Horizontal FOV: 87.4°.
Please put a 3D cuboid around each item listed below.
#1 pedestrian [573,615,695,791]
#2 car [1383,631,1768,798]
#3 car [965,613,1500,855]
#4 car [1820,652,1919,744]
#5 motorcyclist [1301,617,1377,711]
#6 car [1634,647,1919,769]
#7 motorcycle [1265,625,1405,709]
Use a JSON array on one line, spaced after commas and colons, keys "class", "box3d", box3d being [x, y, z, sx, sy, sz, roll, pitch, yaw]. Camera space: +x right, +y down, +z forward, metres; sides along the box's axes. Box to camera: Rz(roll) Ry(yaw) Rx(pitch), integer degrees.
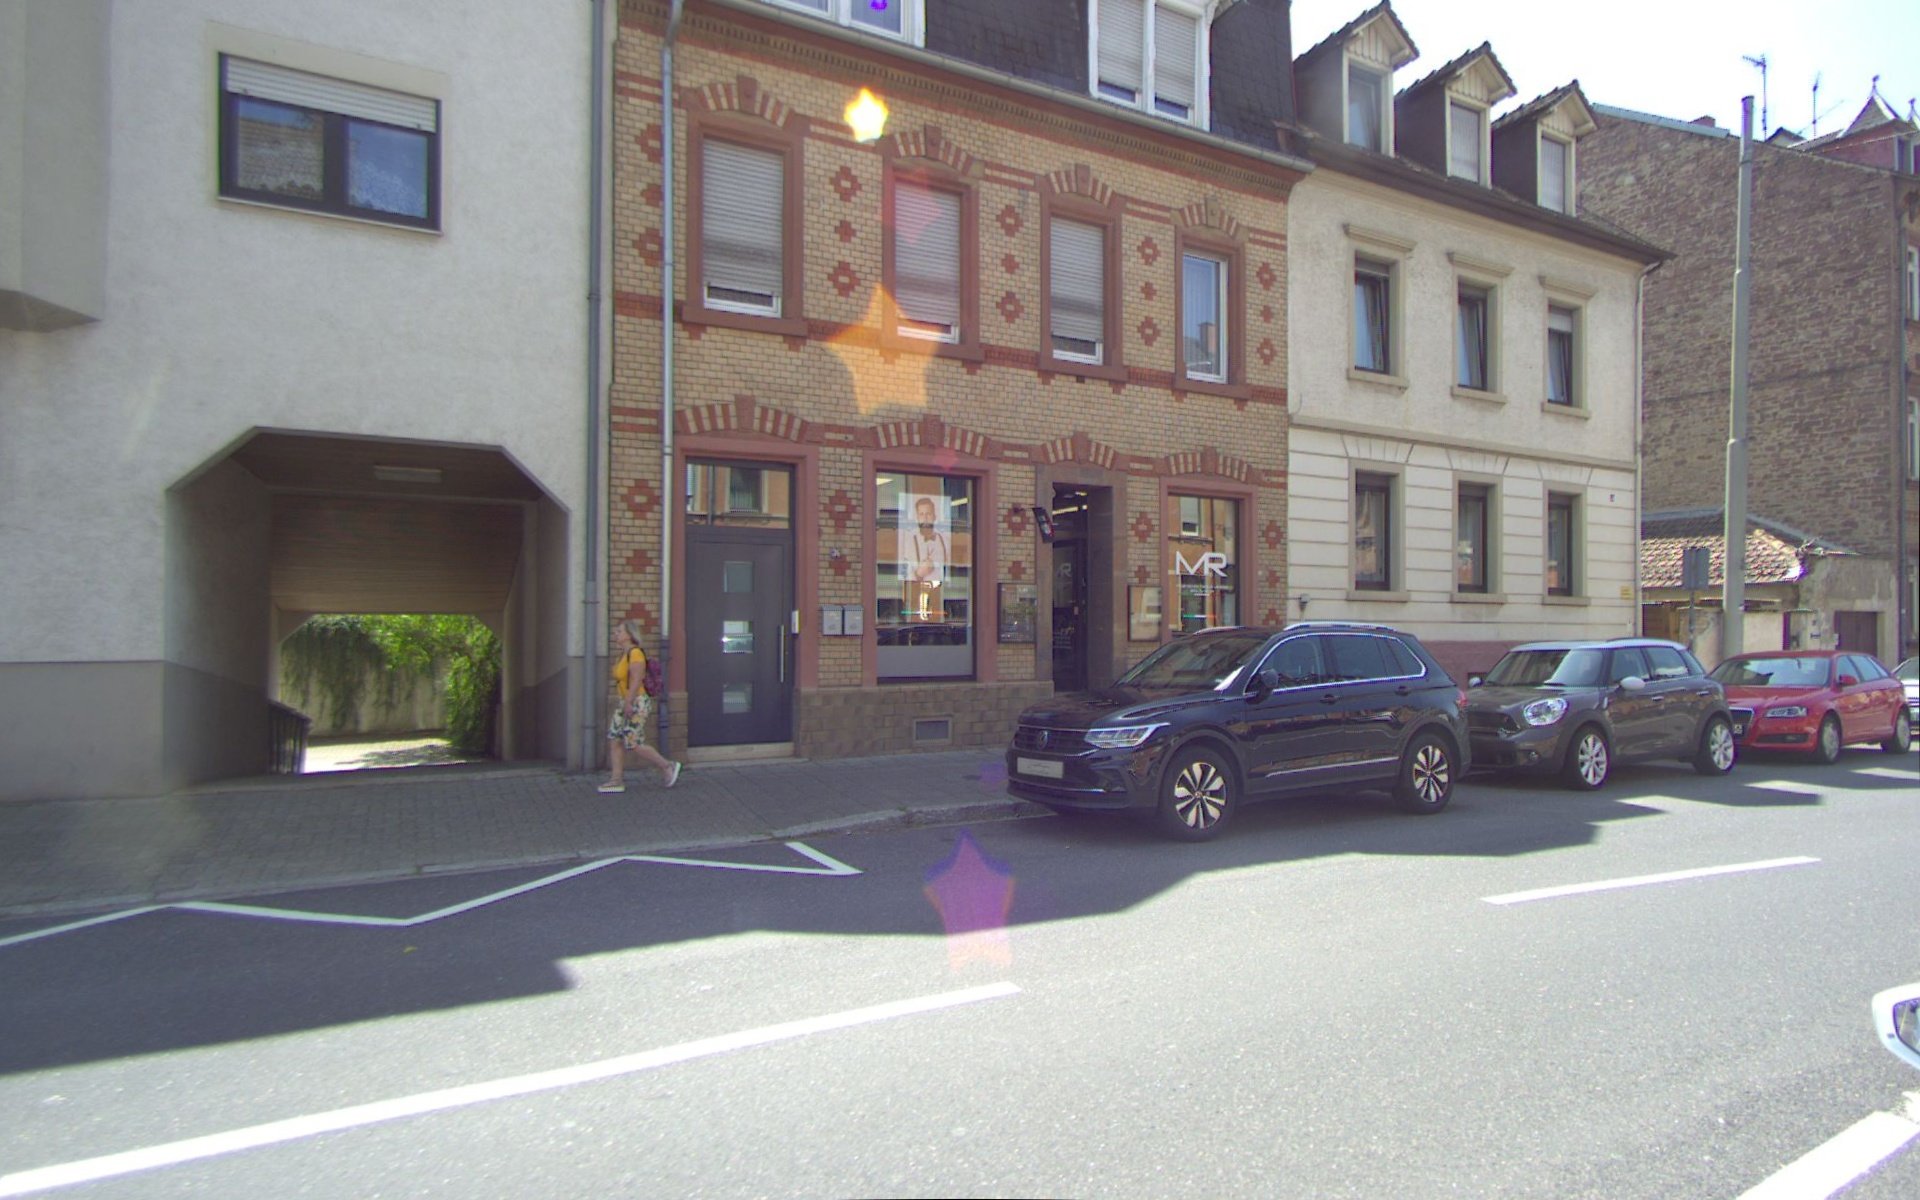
[{"class": "pedestrian", "box3d": [-2.993, 0.909, 9.204, 0.959, 1.515, 0.605, 1, 0, -28]}, {"class": "car", "box3d": [7.216, 1.251, 11.705, 4.448, 1.617, 1.833, 2, -5, -29]}, {"class": "car", "box3d": [2.413, 1.015, 8.666, 4.448, 1.617, 1.832, 2, -4, -29]}, {"class": "car", "box3d": [16.944, 1.630, 17.255, 4.448, 1.441, 1.832, 2, -4, -29]}, {"class": "motorcyclist", "box3d": [5.288, 0.883, 14.035, 0.703, 1.264, 0.715, 1, -2, -29]}, {"class": "car", "box3d": [11.469, 1.405, 13.929, 4.452, 1.441, 1.831, 2, -5, -32]}, {"class": "motorcycle", "box3d": [5.222, 0.909, 13.978, 1.848, 1.092, 0.842, 1, -2, -29]}]
